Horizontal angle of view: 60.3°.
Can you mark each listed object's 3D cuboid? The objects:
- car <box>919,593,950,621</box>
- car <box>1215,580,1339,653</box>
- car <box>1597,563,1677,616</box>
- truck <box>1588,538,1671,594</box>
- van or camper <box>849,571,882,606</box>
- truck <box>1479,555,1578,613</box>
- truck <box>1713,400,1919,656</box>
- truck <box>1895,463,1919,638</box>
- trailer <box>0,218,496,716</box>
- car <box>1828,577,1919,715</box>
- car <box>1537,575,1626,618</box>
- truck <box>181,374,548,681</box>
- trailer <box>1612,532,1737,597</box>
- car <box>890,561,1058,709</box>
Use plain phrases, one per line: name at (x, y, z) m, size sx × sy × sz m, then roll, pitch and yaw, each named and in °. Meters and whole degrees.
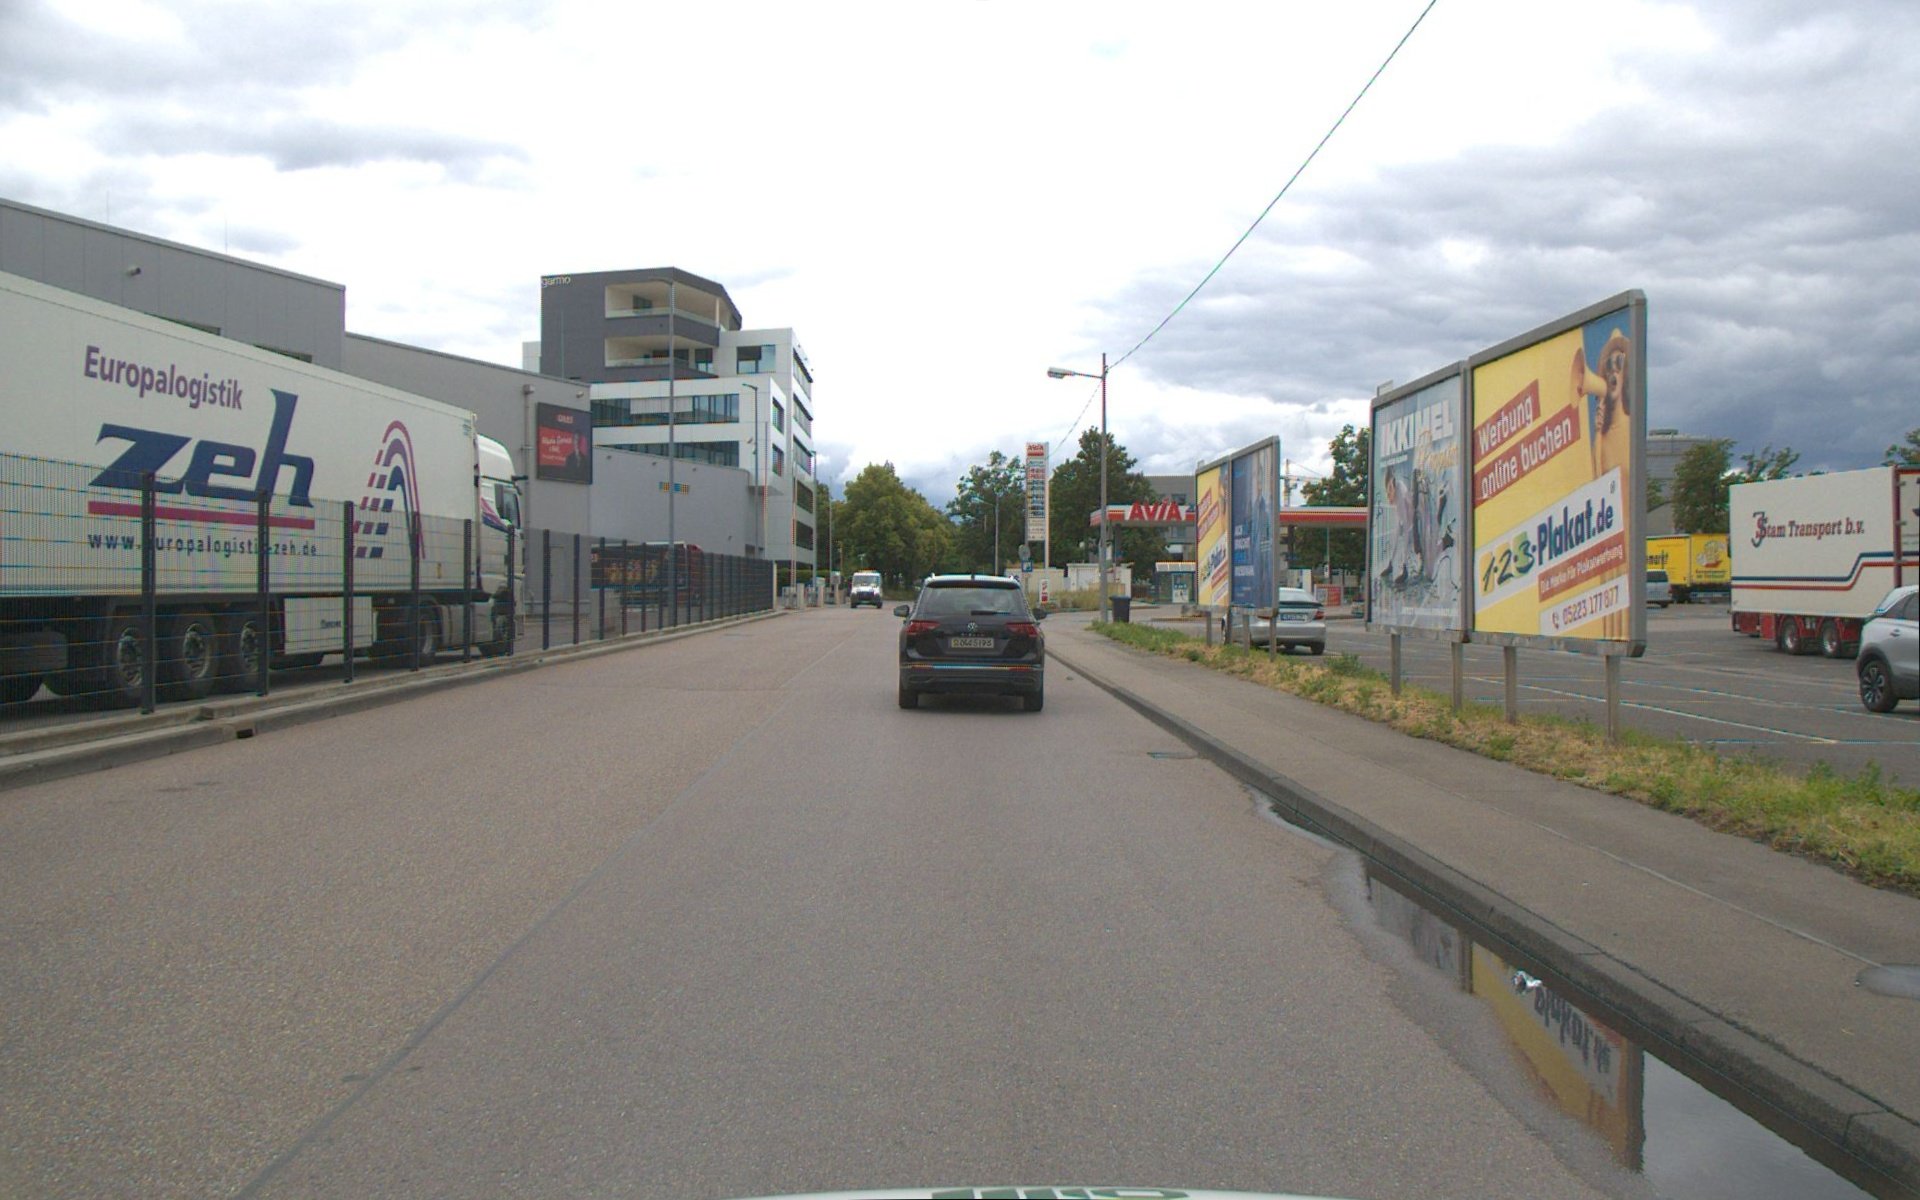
car at (-1.639, 0.423, 105.041) m, size 1.953 × 1.713 × 4.370 m, roll 0°, pitch 1°, yaw -2°
car at (7.006, 0.352, 37.019) m, size 1.851 × 1.470 × 4.428 m, roll 2°, pitch 0°, yaw -1°
car at (35.452, -0.536, 86.775) m, size 2.048 × 2.694 × 5.370 m, roll 0°, pitch 0°, yaw 0°
truck at (42.750, -2.175, 105.752) m, size 2.970 × 3.523 × 5.505 m, roll 0°, pitch 1°, yaw -1°
van or camper at (-6.188, -0.747, 108.623) m, size 1.953 × 2.296 × 3.999 m, roll 0°, pitch 0°, yaw -1°
truck at (32.646, -0.956, 95.327) m, size 3.110 × 3.200 × 7.509 m, roll 0°, pitch 1°, yaw 0°
truck at (20.680, -1.485, 37.786) m, size 3.239 × 5.182 × 8.515 m, roll 0°, pitch 0°, yaw 1°
truck at (24.752, -1.173, 36.834) m, size 3.239 × 4.218 × 8.515 m, roll 0°, pitch 0°, yaw 1°
trailer at (-9.603, -1.071, 20.588) m, size 3.068 × 4.335 × 14.022 m, roll -4°, pitch 0°, yaw 2°
car at (12.307, 0.548, 19.331) m, size 1.852 × 1.640 × 4.426 m, roll 0°, pitch 0°, yaw -3°
car at (25.758, -0.150, 68.686) m, size 1.954 × 1.736 × 4.186 m, roll 0°, pitch 0°, yaw -3°
truck at (-9.393, -1.036, 27.131) m, size 3.063 × 4.188 × 6.943 m, roll -4°, pitch 0°, yaw 2°
trailer at (42.888, -2.116, 99.745) m, size 2.971 × 3.691 × 10.137 m, roll 0°, pitch 1°, yaw -1°
car at (0.134, 0.413, 21.442) m, size 1.953 × 1.713 × 4.370 m, roll 0°, pitch 0°, yaw -1°
